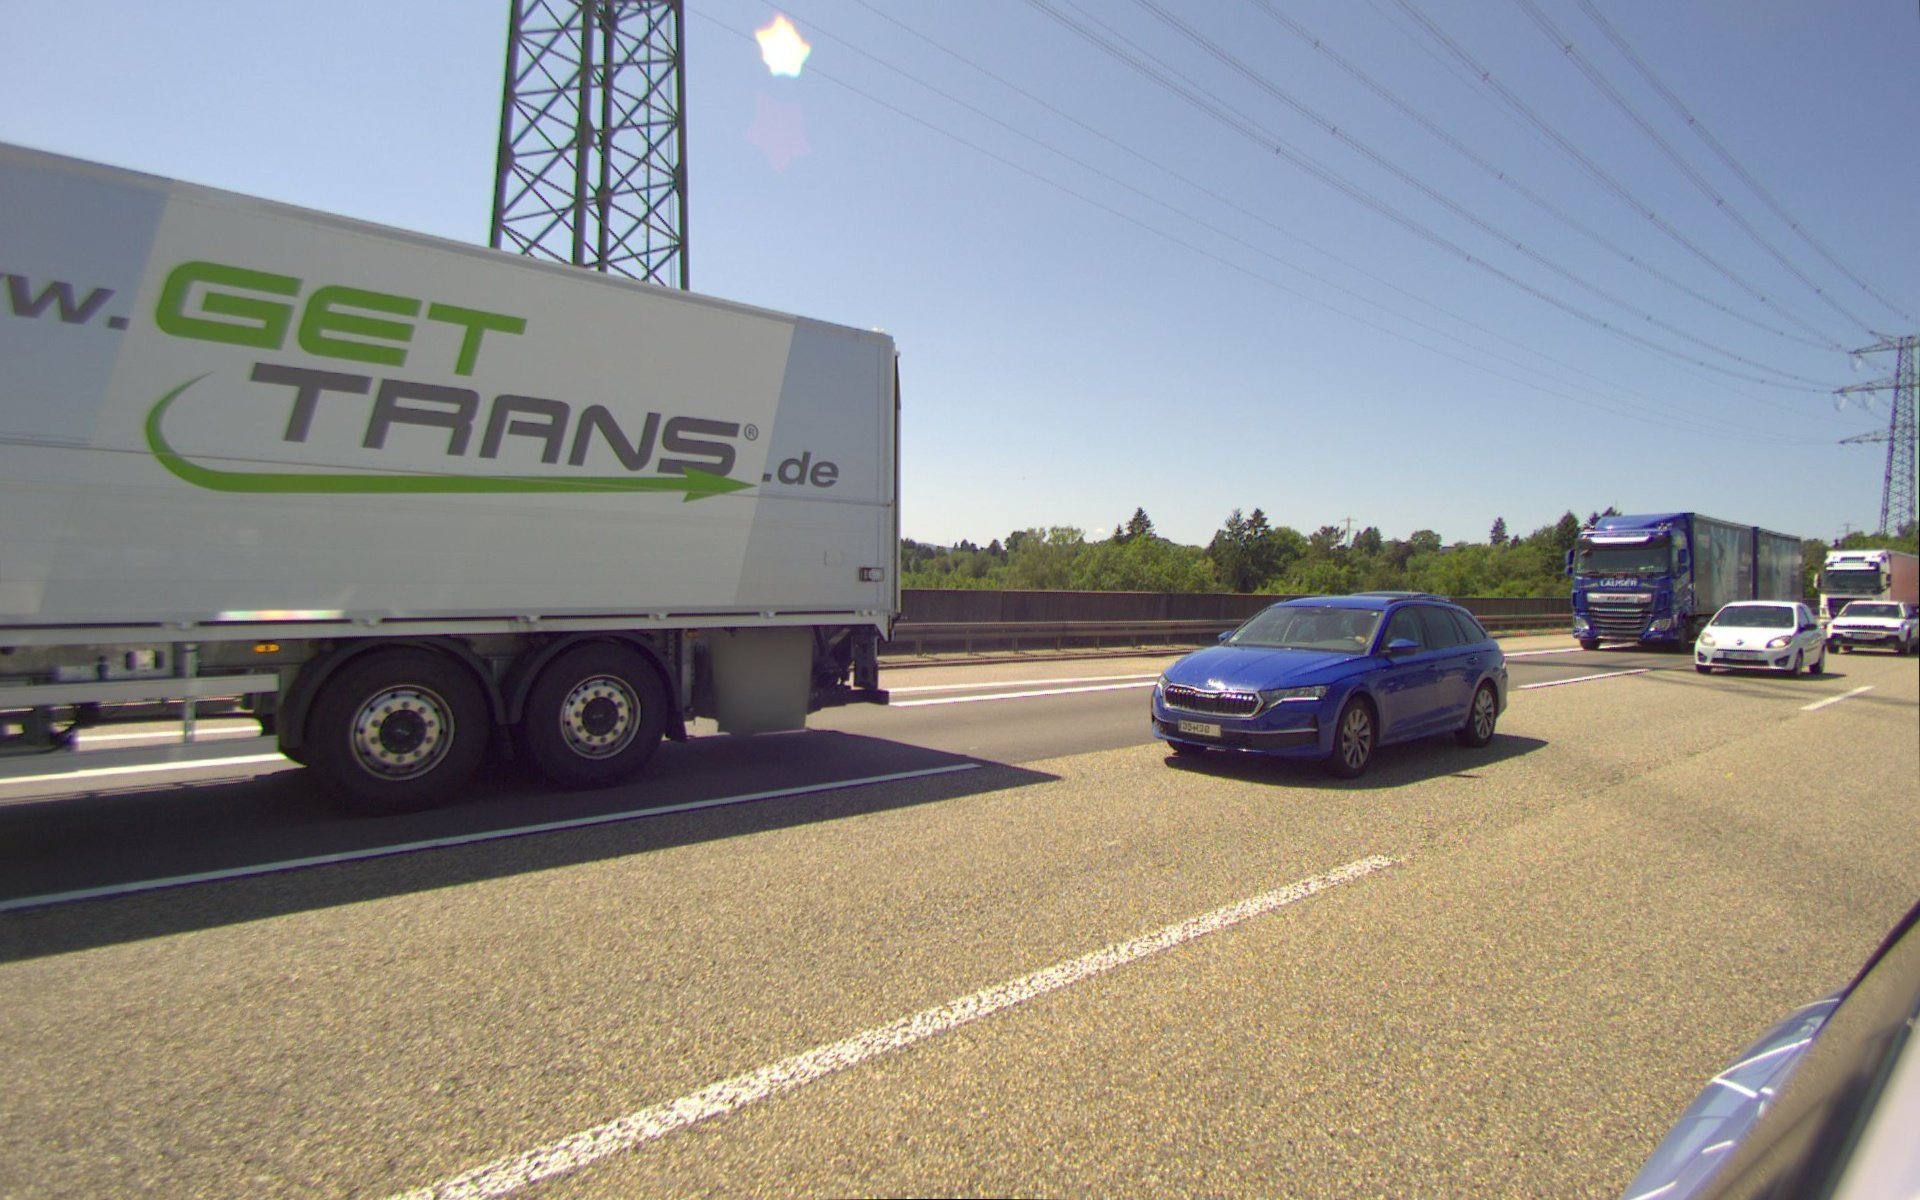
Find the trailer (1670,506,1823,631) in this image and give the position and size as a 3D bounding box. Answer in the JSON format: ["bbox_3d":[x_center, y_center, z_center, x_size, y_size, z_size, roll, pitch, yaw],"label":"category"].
[{"bbox_3d":[29.209,-1.104,37.415,8.486,4.140,2.833,-1,0,-41],"label":"trailer"}]

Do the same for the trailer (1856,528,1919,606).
[{"bbox_3d":[54.148,-1.827,58.405,8.929,4.169,2.605,-1,0,-42],"label":"trailer"}]

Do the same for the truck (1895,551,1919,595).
[{"bbox_3d":[69.789,-1.935,73.430,6.139,3.018,2.249,-1,4,-43],"label":"truck"}]

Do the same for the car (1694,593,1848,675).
[{"bbox_3d":[16.456,0.602,20.469,4.071,1.470,1.711,-1,1,-40],"label":"car"}]

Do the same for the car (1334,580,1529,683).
[{"bbox_3d":[8.671,0.489,18.473,4.045,1.675,1.711,-1,1,-40],"label":"car"}]

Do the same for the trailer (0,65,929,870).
[{"bbox_3d":[-4.243,-0.680,7.296,8.072,3.940,2.903,-1,0,-42],"label":"trailer"}]

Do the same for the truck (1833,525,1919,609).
[{"bbox_3d":[47.813,-1.653,52.741,8.125,4.037,2.605,-1,0,-43],"label":"truck"}]

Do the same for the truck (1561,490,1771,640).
[{"bbox_3d":[22.095,-1.008,31.356,10.211,3.999,2.857,-1,0,-40],"label":"truck"}]

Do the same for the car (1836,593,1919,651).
[{"bbox_3d":[26.715,0.585,29.091,4.071,1.528,1.711,-1,1,-40],"label":"car"}]

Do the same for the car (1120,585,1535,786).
[{"bbox_3d":[3.636,0.605,9.567,4.483,1.470,1.711,-1,1,-40],"label":"car"}]
